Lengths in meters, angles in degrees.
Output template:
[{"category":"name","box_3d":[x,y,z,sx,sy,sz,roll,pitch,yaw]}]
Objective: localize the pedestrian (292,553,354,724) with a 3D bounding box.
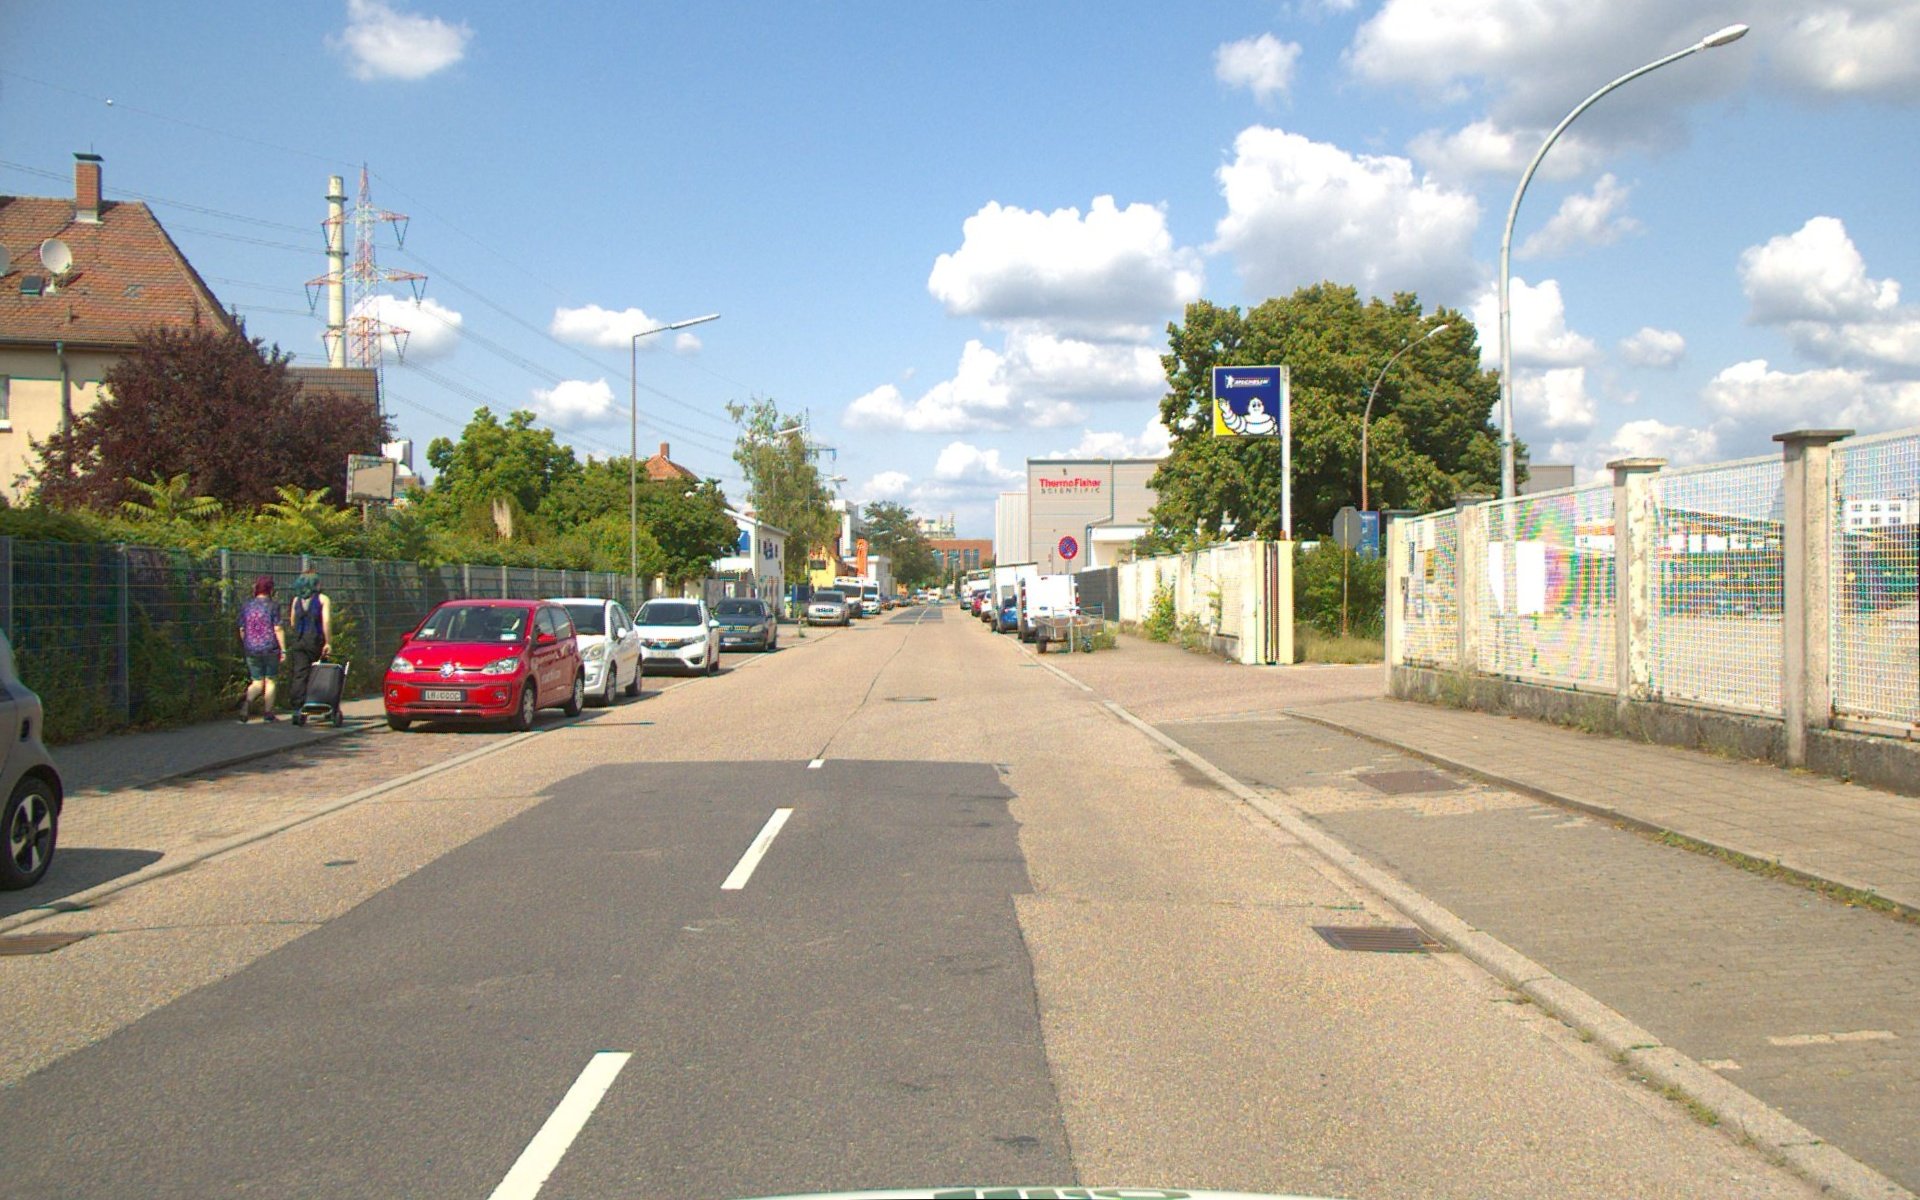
[{"category":"pedestrian","box_3d":[-7.331,0.429,19.045,0.441,1.927,0.677,-1,0,-1]}]

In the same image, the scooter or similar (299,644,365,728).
[{"category":"scooter or similar","box_3d":[-7.045,0.957,18.571,0.461,0.903,0.710,-1,0,-1]}]

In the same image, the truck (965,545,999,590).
[{"category":"truck","box_3d":[1.768,-2.637,134.573,2.409,3.349,6.817,-5,1,0]}]

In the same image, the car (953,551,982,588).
[{"category":"car","box_3d":[0.695,-3.007,165.364,2.341,3.421,6.641,-3,1,-3]}]

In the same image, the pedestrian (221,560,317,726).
[{"category":"pedestrian","box_3d":[-7.834,0.469,18.789,0.693,1.832,0.916,-1,0,-1]}]

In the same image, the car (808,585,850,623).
[{"category":"car","box_3d":[-6.551,0.179,83.114,1.754,1.749,4.751,2,1,-1]}]

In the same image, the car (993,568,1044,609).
[{"category":"car","box_3d":[2.274,-0.443,65.373,1.656,1.486,4.069,-3,0,-2]}]

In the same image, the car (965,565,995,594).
[{"category":"car","box_3d":[1.414,-1.471,117.166,2.012,1.936,5.147,-2,1,0]}]

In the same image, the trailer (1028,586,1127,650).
[{"category":"trailer","box_3d":[2.965,0.444,42.658,1.715,1.442,4.544,-4,0,-6]}]

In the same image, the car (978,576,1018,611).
[{"category":"car","box_3d":[2.054,-0.395,90.541,1.896,1.723,4.679,-4,1,-1]}]

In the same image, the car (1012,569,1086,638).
[{"category":"car","box_3d":[2.781,0.071,53.066,1.953,2.049,5.649,-1,1,-1]}]

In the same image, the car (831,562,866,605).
[{"category":"car","box_3d":[-7.114,-1.052,105.725,1.989,2.602,6.654,1,0,-2]}]

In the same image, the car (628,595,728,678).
[{"category":"car","box_3d":[-5.765,0.697,34.162,1.588,1.549,4.173,-1,1,-4]}]

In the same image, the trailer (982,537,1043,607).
[{"category":"trailer","box_3d":[2.250,-1.178,72.152,2.160,2.784,6.220,-4,0,-1]}]

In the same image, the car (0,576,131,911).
[{"category":"car","box_3d":[-5.643,0.720,8.068,1.617,1.674,3.272,2,1,-3]}]

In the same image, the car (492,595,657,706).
[{"category":"car","box_3d":[-5.707,0.695,24.910,1.612,1.503,4.028,-1,0,-2]}]

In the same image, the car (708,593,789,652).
[{"category":"car","box_3d":[-5.782,0.578,45.681,1.769,1.443,4.495,1,1,-2]}]

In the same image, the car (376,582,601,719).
[{"category":"car","box_3d":[-5.599,0.540,20.081,1.632,1.492,3.744,1,0,0]}]

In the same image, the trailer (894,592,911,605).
[{"category":"trailer","box_3d":[-7.056,-0.188,204.149,1.953,1.584,4.253,0,1,-1]}]
